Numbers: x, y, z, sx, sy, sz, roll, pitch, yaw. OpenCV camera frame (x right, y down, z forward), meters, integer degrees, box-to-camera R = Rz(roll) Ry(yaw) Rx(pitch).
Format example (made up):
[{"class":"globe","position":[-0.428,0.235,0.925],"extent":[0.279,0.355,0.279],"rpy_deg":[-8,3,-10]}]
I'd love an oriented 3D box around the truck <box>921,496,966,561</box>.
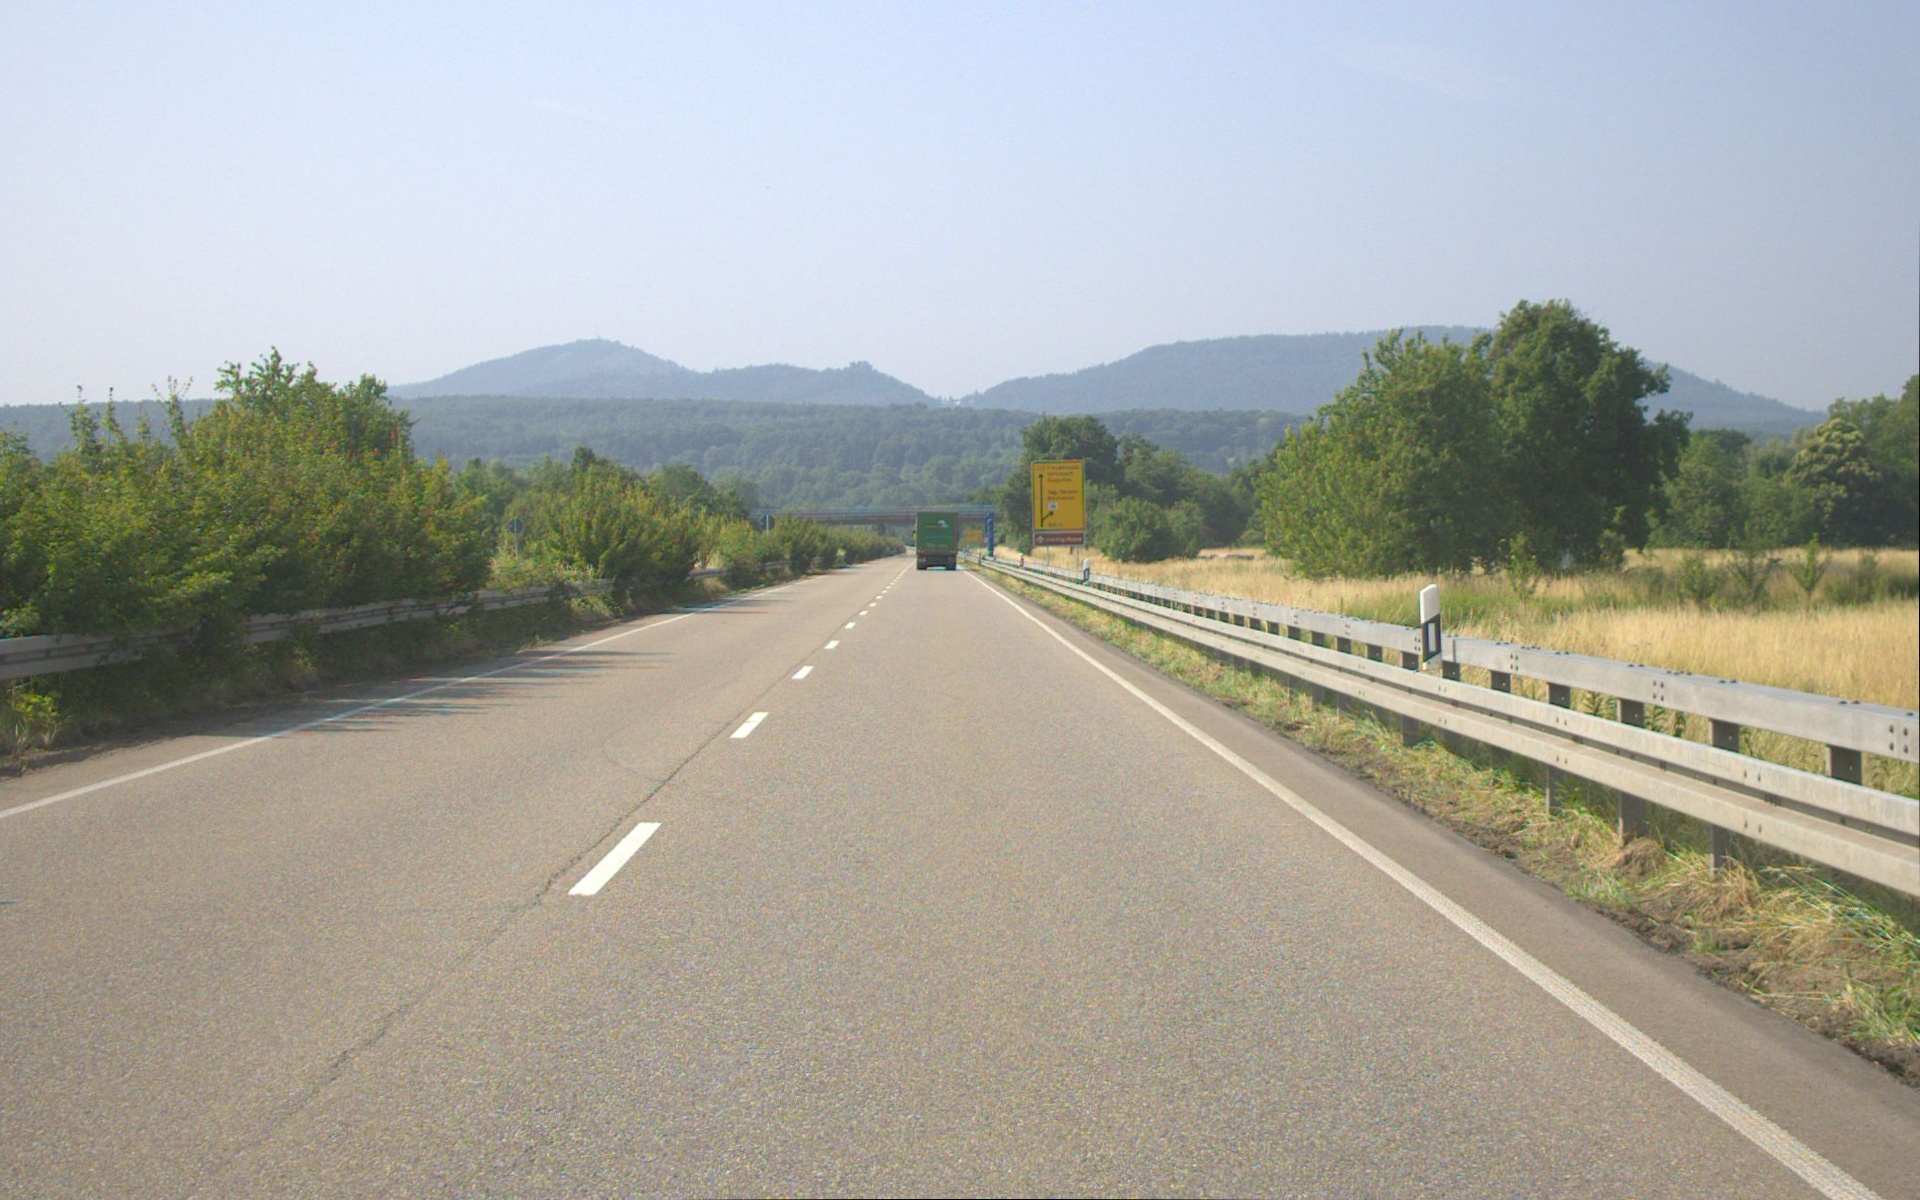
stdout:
[{"class":"truck","position":[-1.014,-4.567,217.223],"extent":[2.722,3.952,10.416],"rpy_deg":[1,2,0]}]
